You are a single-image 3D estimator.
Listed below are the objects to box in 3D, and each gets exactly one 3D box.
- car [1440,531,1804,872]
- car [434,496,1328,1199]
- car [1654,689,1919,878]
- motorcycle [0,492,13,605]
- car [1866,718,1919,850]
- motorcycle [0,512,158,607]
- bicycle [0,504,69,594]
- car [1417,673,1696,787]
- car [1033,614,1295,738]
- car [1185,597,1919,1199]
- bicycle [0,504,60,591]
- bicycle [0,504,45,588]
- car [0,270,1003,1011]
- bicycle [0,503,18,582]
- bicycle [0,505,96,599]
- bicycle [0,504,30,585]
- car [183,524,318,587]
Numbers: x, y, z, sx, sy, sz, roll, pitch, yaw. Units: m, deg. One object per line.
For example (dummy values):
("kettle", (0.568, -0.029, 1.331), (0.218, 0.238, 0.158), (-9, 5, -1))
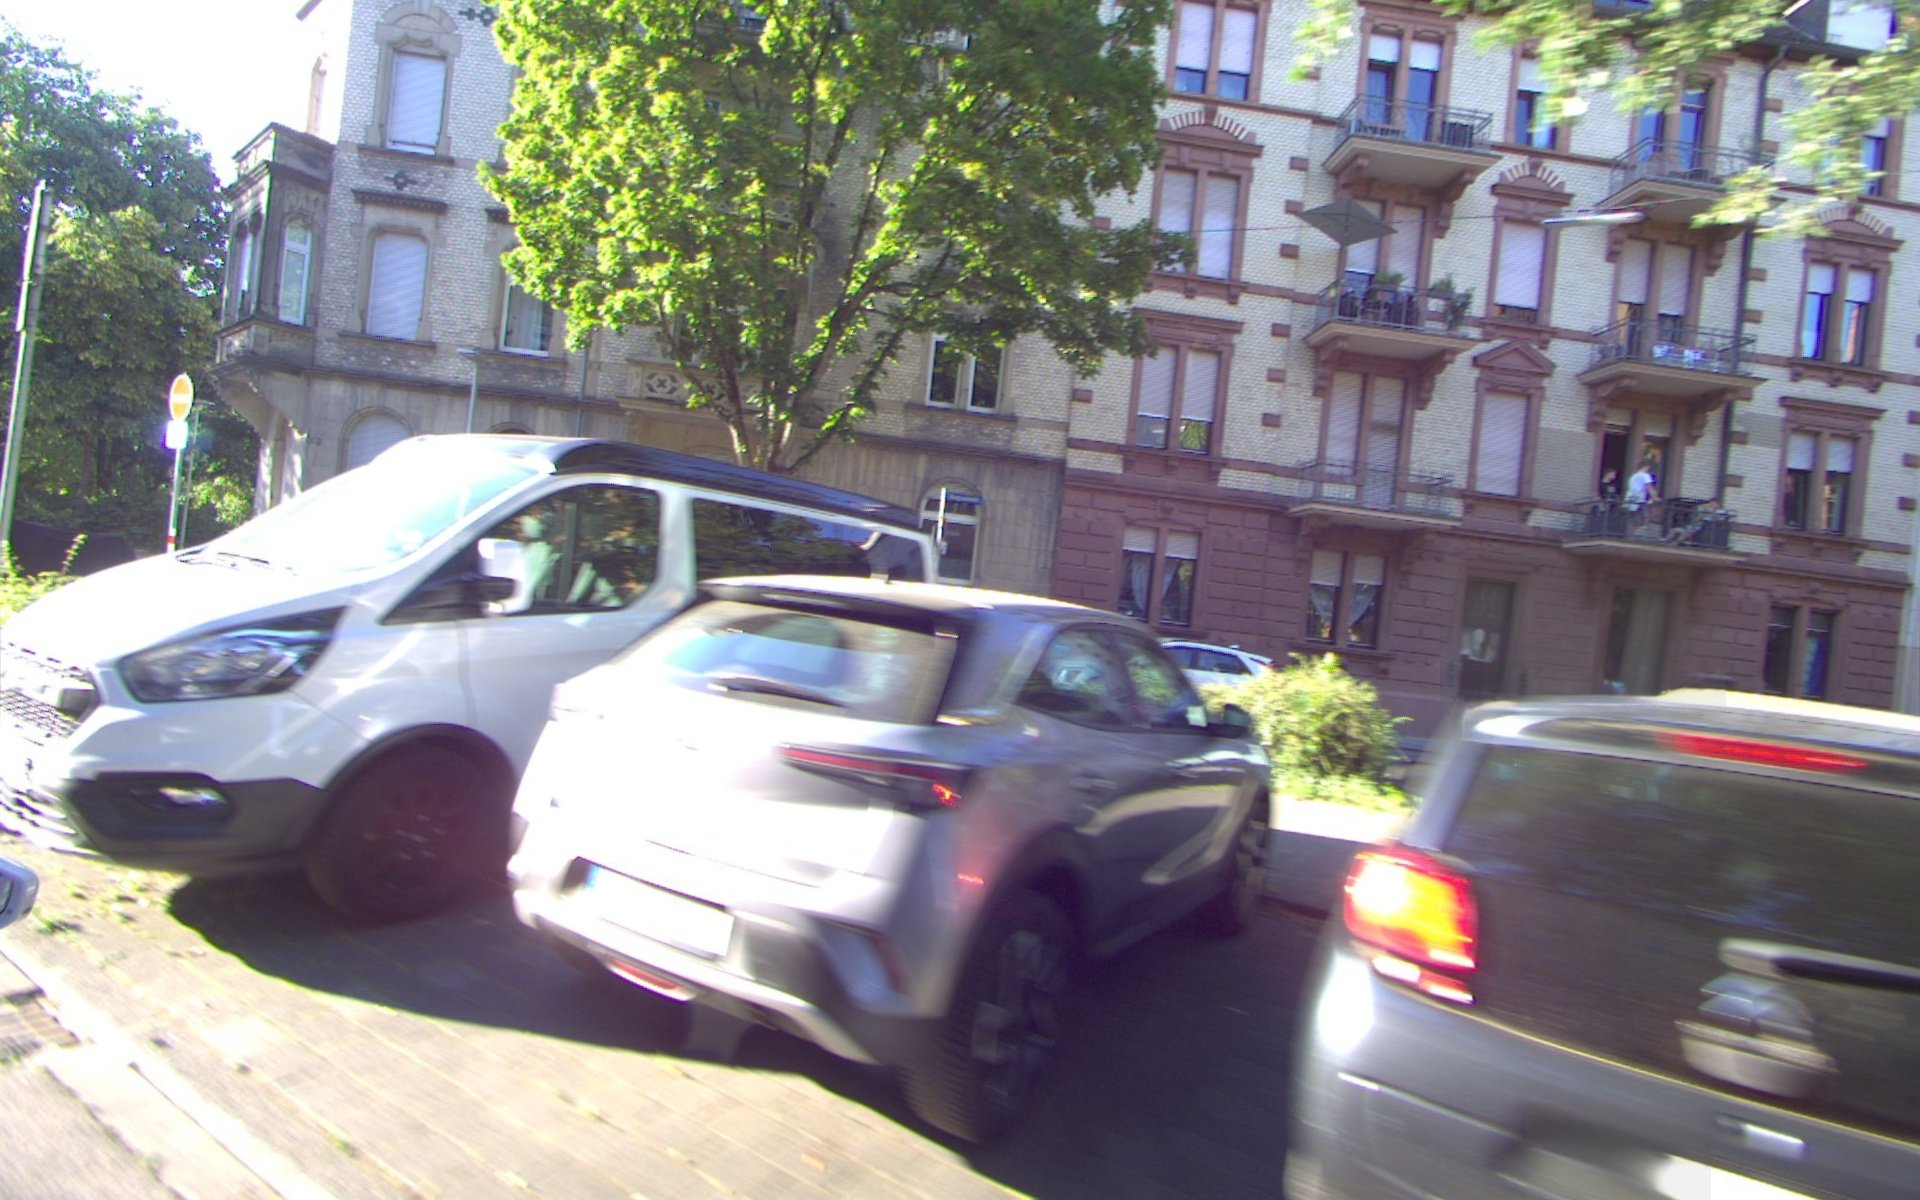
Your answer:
("car", (6.792, 0.983, 11.199), (2.338, 2.568, 5.910), (7, -1, 26))
("car", (0.187, 0.712, 4.268), (1.712, 1.615, 3.845), (7, -1, 32))
("car", (9.660, 1.949, 11.520), (1.880, 1.523, 4.305), (7, -1, 24))
("motorcycle", (-12.538, -0.713, 11.715), (0.683, 1.379, 2.024), (7, 1, 32))
("car", (12.220, 2.296, 11.376), (1.831, 1.528, 4.064), (7, -1, 28))
("motorcycle", (-12.367, -0.553, 13.703), (0.889, 1.122, 2.025), (7, 1, 30))
("bicycle", (-14.428, -0.810, 14.749), (0.471, 1.261, 1.929), (7, -1, 26))
("car", (11.248, 2.432, 19.150), (4.170, 1.492, 1.866), (7, 0, -6))
("car", (3.562, 1.319, 18.075), (4.142, 1.630, 1.780), (7, 0, -4))
("car", (2.302, 0.988, 3.312), (1.817, 1.534, 3.845), (7, -1, 32))
("bicycle", (-14.862, -0.861, 15.063), (0.471, 1.261, 1.929), (7, -1, 26))
("bicycle", (-15.304, -0.914, 15.304), (0.471, 1.261, 1.929), (7, -1, 26))
("car", (-1.972, 0.205, 5.534), (2.071, 2.121, 4.980), (7, -1, 32))
("bicycle", (-16.196, -1.022, 15.788), (0.471, 1.261, 1.929), (7, -1, 26))
("bicycle", (-13.876, -0.742, 14.535), (0.637, 1.261, 1.929), (7, -1, 26))
("bicycle", (-15.741, -0.967, 15.534), (0.388, 1.261, 1.929), (7, -1, 26))
("car", (-24.417, -1.476, 34.806), (1.849, 1.427, 4.004), (10, -4, -4))
